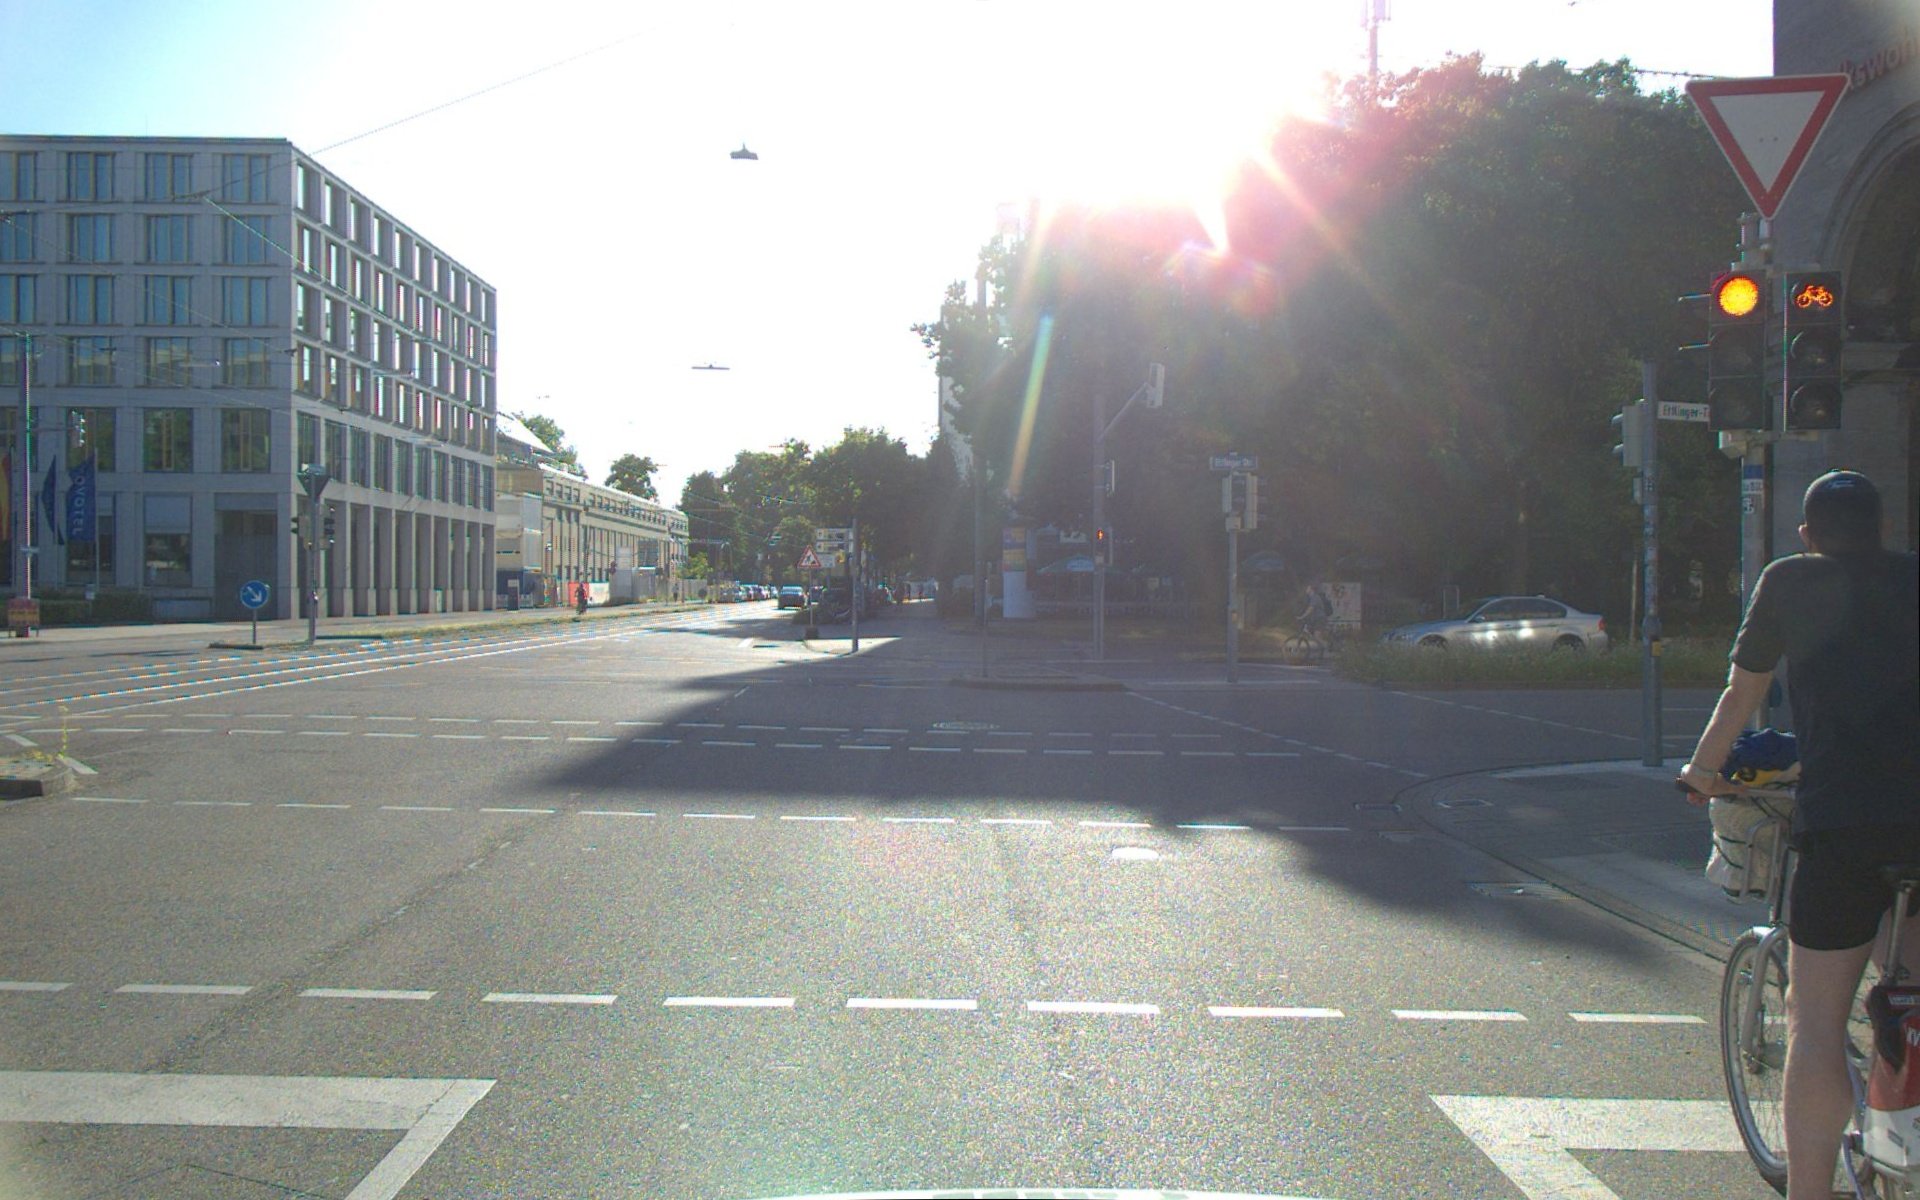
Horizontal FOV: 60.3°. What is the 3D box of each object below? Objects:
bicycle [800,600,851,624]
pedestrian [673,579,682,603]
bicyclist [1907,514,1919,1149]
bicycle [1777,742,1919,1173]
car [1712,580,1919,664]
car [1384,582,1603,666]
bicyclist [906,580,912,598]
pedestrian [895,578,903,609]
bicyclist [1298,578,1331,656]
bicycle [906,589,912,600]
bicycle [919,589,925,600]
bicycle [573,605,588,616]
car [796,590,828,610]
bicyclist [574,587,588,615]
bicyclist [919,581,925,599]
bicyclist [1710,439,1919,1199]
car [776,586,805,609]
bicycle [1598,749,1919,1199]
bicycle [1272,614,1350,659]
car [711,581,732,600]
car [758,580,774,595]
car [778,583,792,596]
[{"bbox_3d":[-5.485,0.507,67.380,1.976,0.907,0.650,-2,-1,27],"label":"bicycle"},{"bbox_3d":[-25.045,-0.783,146.391,0.660,2.049,0.751,1,-1,-3],"label":"pedestrian"},{"bbox_3d":[2.889,0.631,4.227,0.546,1.721,0.640,1,0,-2],"label":"bicyclist"},{"bbox_3d":[2.864,1.003,4.334,0.523,1.096,1.750,1,0,-2],"label":"bicycle"},{"bbox_3d":[17.537,0.434,33.593,3.770,1.639,1.650,0,0,-1],"label":"car"},{"bbox_3d":[10.775,0.477,33.559,3.912,1.639,1.650,0,0,-1],"label":"car"},{"bbox_3d":[-4.920,-1.058,158.820,0.558,1.721,0.699,0,0,-1],"label":"bicyclist"},{"bbox_3d":[-3.581,-0.367,97.650,0.454,1.845,0.502,0,0,-5],"label":"pedestrian"},{"bbox_3d":[7.810,0.365,36.443,0.630,1.712,0.507,0,0,5],"label":"bicyclist"},{"bbox_3d":[-4.913,-0.546,158.909,0.563,1.096,1.830,0,0,-1],"label":"bicycle"},{"bbox_3d":[-3.641,-0.524,159.144,0.563,1.096,1.830,0,0,-1],"label":"bicycle"},{"bbox_3d":[-19.051,0.528,83.127,0.491,0.524,1.257,1,0,-1],"label":"bicycle"},{"bbox_3d":[-12.328,-0.015,138.029,1.853,1.592,4.810,3,1,3],"label":"car"},{"bbox_3d":[-19.050,0.060,83.139,0.584,1.401,0.637,1,-1,-2],"label":"bicyclist"},{"bbox_3d":[-3.644,-0.963,159.128,0.558,1.721,0.699,0,0,-1],"label":"bicyclist"},{"bbox_3d":[2.095,0.581,3.728,0.547,1.830,0.550,1,0,1],"label":"bicyclist"},{"bbox_3d":[-11.375,-0.192,111.123,1.626,1.481,4.430,1,0,-2],"label":"car"},{"bbox_3d":[2.076,0.984,3.887,0.505,1.096,1.728,1,0,1],"label":"bicycle"},{"bbox_3d":[7.721,0.795,36.429,1.631,0.980,0.534,0,0,5],"label":"bicycle"},{"bbox_3d":[-22.472,-0.900,156.109,1.659,1.748,4.244,1,0,-4],"label":"car"},{"bbox_3d":[-22.831,-1.439,194.358,1.659,1.748,4.244,1,0,-4],"label":"car"},{"bbox_3d":[-23.199,-1.398,219.891,1.659,1.748,4.244,1,0,-4],"label":"car"}]
